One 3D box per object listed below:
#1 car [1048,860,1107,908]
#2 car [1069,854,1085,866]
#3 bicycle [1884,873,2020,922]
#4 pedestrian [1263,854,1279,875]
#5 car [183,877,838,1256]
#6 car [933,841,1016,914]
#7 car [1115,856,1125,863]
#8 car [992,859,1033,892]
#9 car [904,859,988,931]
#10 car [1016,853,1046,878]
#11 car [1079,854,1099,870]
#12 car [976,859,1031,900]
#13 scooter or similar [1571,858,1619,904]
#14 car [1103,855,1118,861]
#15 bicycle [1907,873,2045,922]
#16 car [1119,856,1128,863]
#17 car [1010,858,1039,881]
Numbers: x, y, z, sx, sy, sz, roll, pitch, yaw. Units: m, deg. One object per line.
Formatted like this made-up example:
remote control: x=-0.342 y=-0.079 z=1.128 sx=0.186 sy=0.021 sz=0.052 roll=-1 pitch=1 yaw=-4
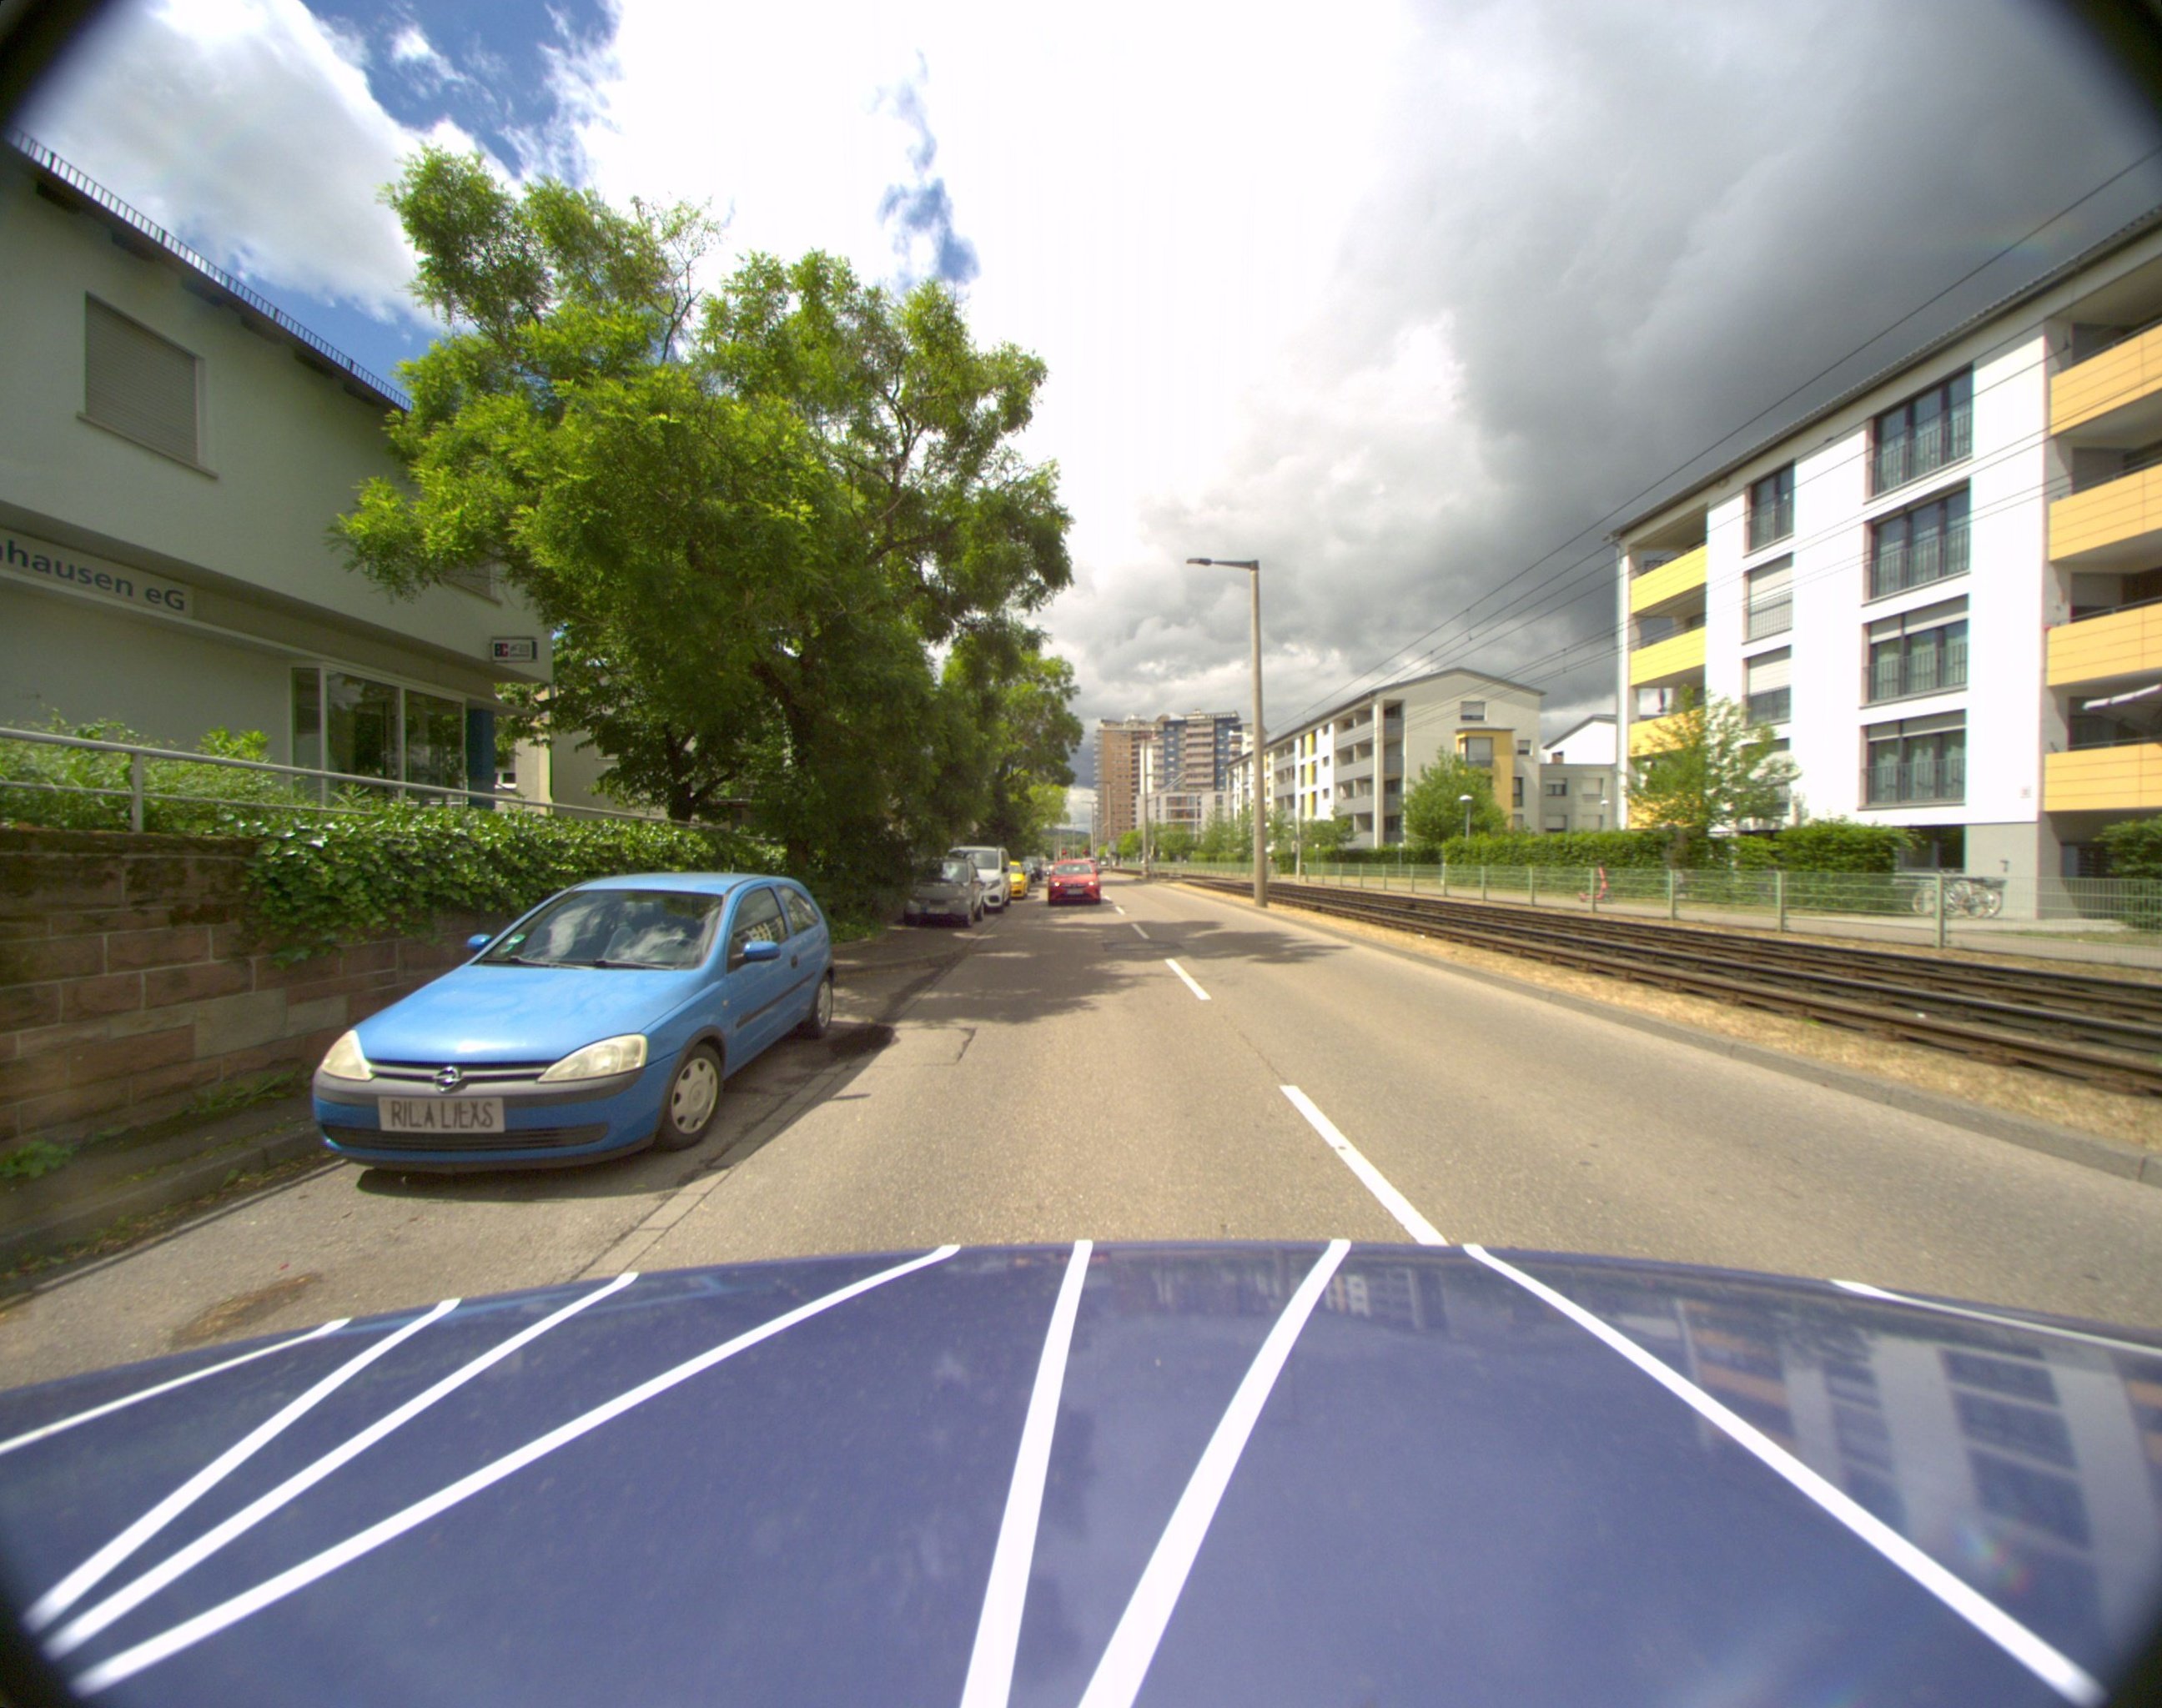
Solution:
car: x=-0.187 y=0.948 z=25.660 sx=1.792 sy=1.387 sz=4.241 roll=-2 pitch=0 yaw=-2
car: x=-0.612 y=0.887 z=108.214 sx=1.863 sy=1.680 sz=4.432 roll=-1 pitch=0 yaw=-5
bicycle: x=19.640 y=0.945 z=17.216 sx=0.556 sy=0.974 sz=2.213 roll=-1 pitch=0 yaw=1
pedestrian: x=13.227 y=0.724 z=52.906 sx=0.798 sy=1.474 sz=0.995 roll=-1 pitch=0 yaw=-3
car: x=-2.932 y=0.939 z=4.977 sx=1.612 sy=1.448 sz=3.675 roll=1 pitch=0 yaw=-2
car: x=-3.098 y=0.646 z=23.267 sx=1.919 sy=1.947 sz=5.743 roll=0 pitch=0 yaw=-2
car: x=9.381 y=1.301 z=182.270 sx=1.782 sy=1.530 sz=3.802 roll=-1 pitch=0 yaw=-4
car: x=-3.204 y=0.970 z=36.291 sx=1.760 sy=1.434 sz=4.492 roll=0 pitch=0 yaw=-3
car: x=-3.094 y=0.909 z=17.884 sx=1.517 sy=1.525 sz=2.846 roll=1 pitch=0 yaw=-1
car: x=-3.703 y=0.804 z=57.115 sx=2.020 sy=1.778 sz=5.075 roll=0 pitch=0 yaw=-1
car: x=0.859 y=0.877 z=82.312 sx=1.822 sy=1.604 sz=4.600 roll=-2 pitch=0 yaw=-3
car: x=-2.909 y=0.916 z=29.402 sx=1.760 sy=1.434 sz=4.340 roll=1 pitch=0 yaw=-1
scooter or similar: x=14.966 y=0.774 z=22.147 sx=0.491 sy=1.285 sz=1.302 roll=-1 pitch=0 yaw=-1
car: x=8.560 y=1.167 z=219.797 sx=4.506 sy=1.914 sz=1.877 roll=-1 pitch=0 yaw=-44
bicycle: x=20.163 y=0.944 z=17.202 sx=0.556 sy=0.974 sz=2.213 roll=-1 pitch=0 yaw=1
car: x=9.849 y=1.355 z=176.337 sx=1.894 sy=1.530 sz=3.803 roll=-1 pitch=0 yaw=-2
car: x=-3.784 y=1.004 z=51.216 sx=1.839 sy=1.497 sz=4.241 roll=0 pitch=0 yaw=-3
